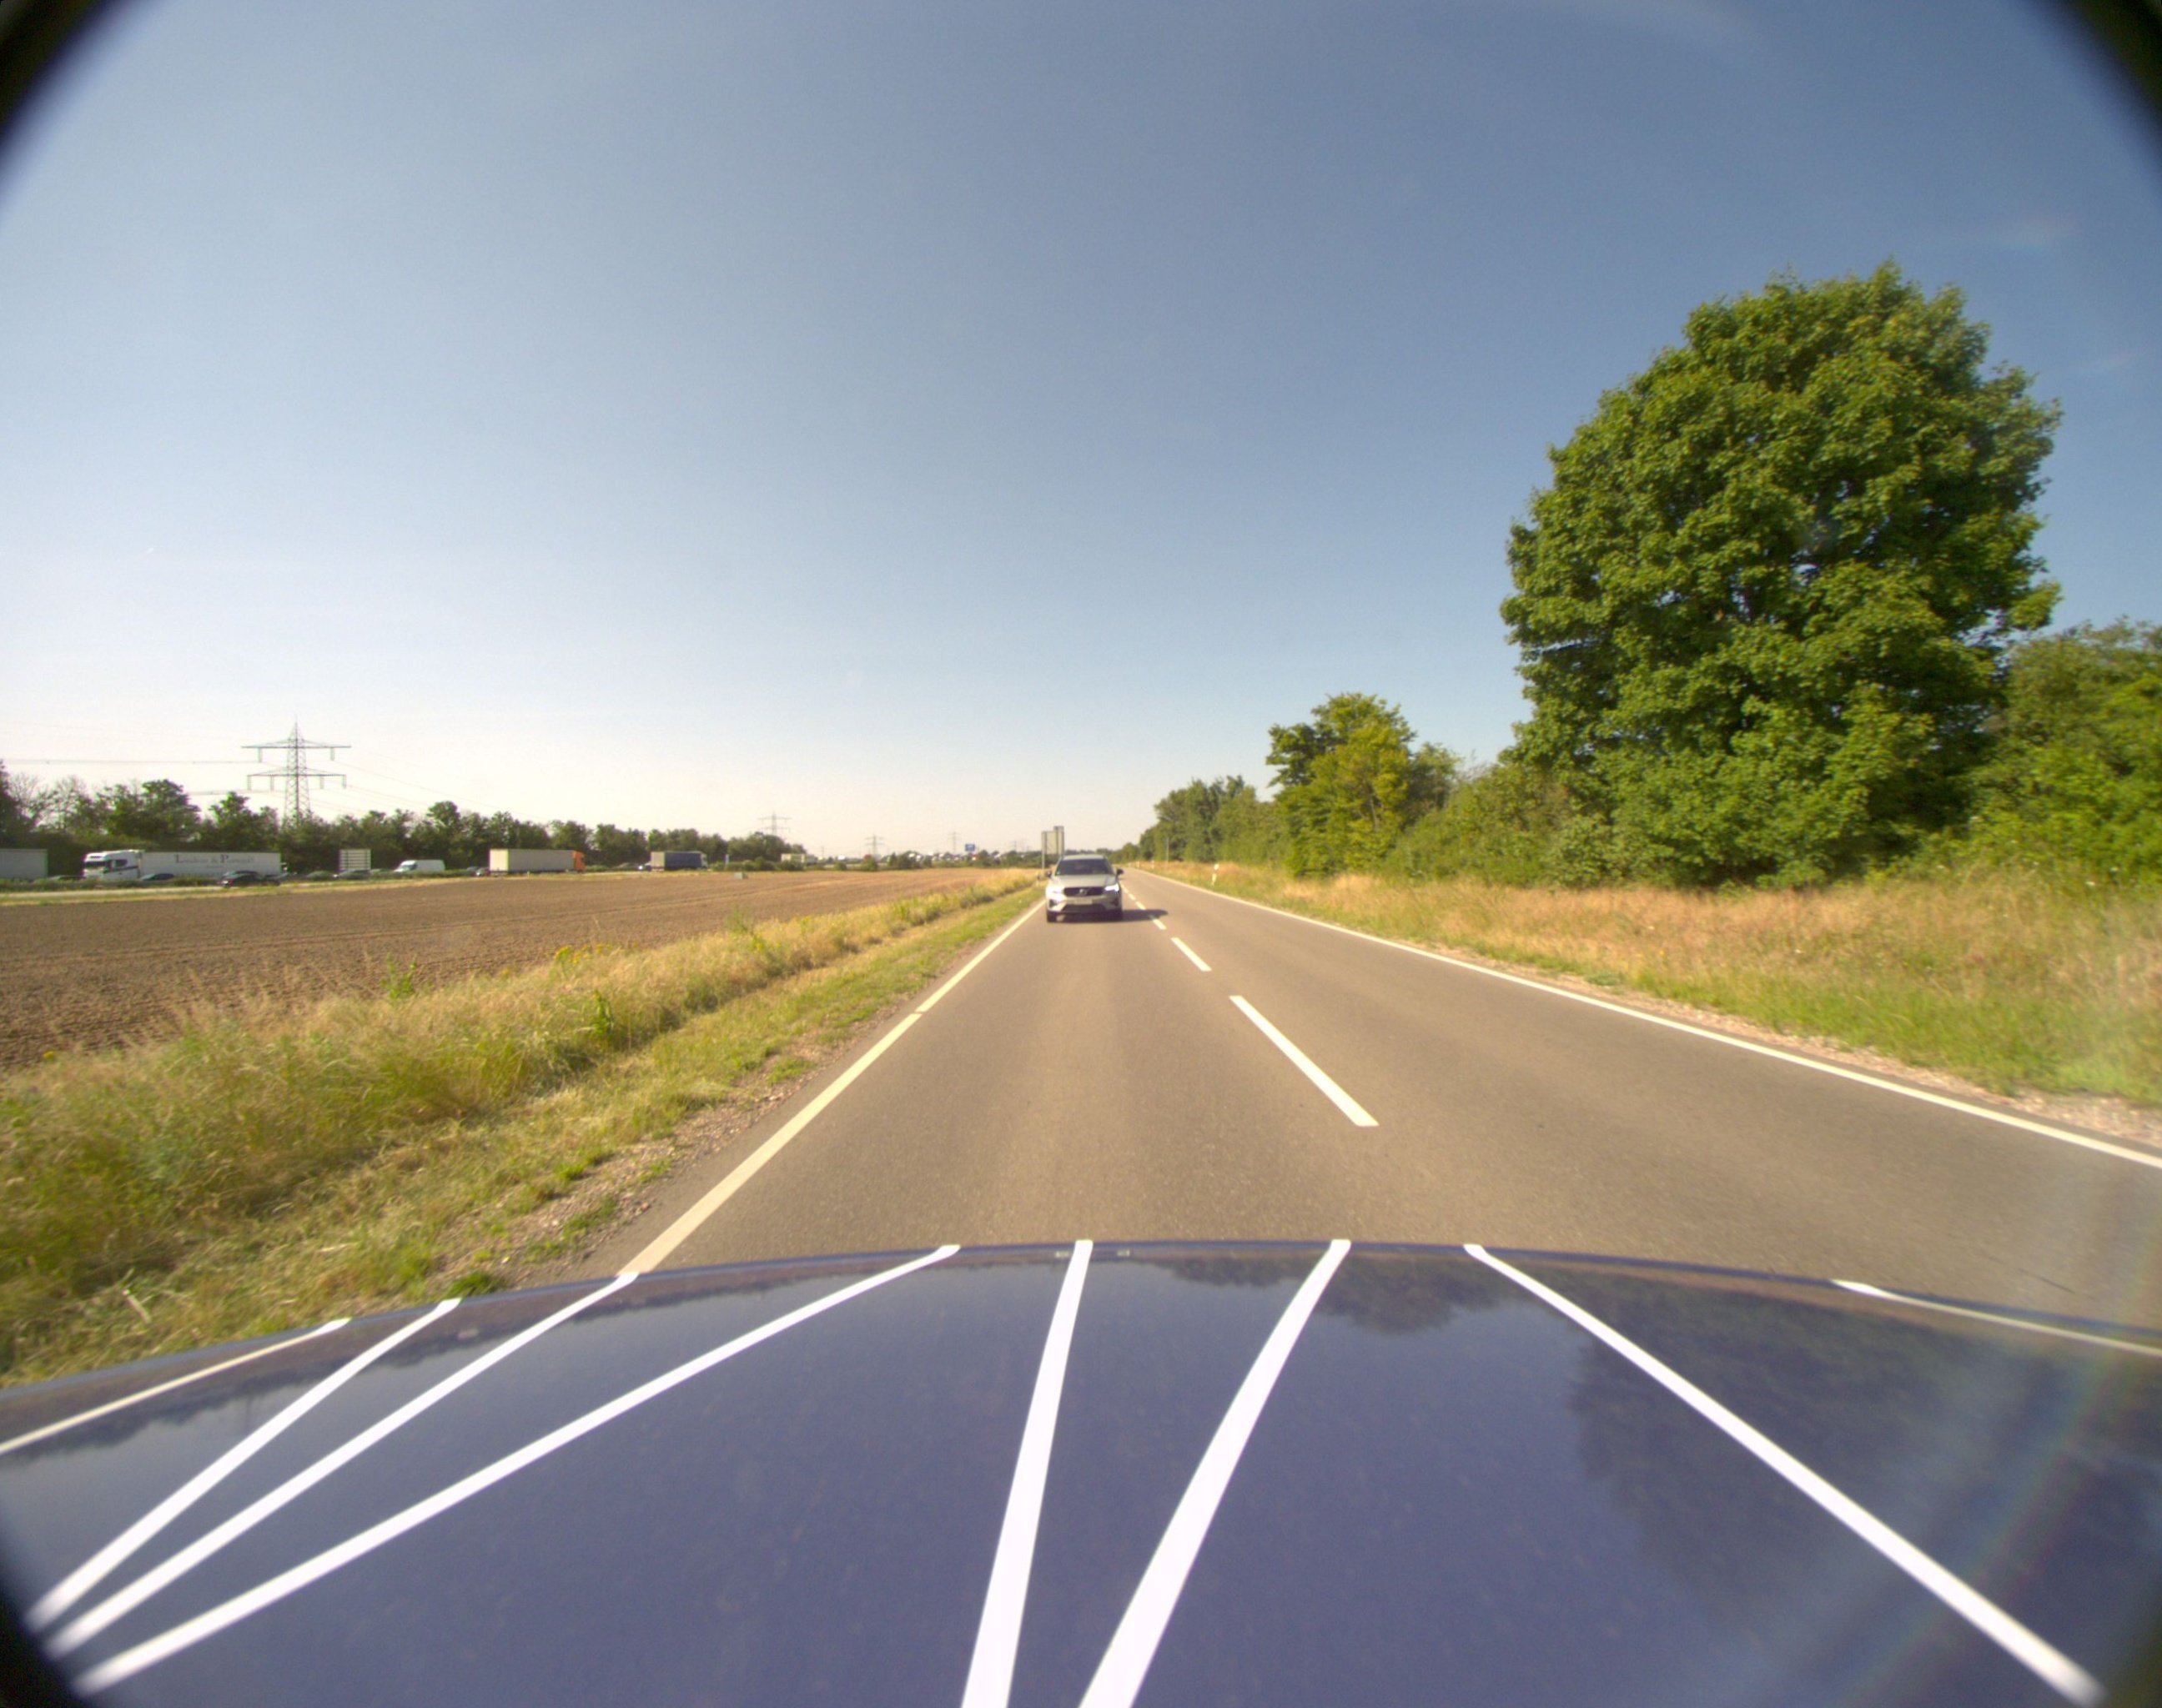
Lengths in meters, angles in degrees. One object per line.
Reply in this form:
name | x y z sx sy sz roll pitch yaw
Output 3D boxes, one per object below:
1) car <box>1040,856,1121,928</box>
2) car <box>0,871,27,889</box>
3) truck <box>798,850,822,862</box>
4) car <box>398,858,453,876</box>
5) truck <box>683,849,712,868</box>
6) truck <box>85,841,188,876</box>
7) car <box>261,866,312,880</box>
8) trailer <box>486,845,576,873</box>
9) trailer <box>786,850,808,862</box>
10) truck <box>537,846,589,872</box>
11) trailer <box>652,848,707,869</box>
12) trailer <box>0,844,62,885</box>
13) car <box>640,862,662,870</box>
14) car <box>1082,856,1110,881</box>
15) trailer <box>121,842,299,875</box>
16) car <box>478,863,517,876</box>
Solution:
car | 0.055 0.891 19.821 1.840 1.628 4.136 -2 0 2
car | -94.334 2.276 65.296 1.707 1.500 4.094 -3 0 1
truck | -77.901 0.580 218.759 2.813 3.457 11.120 -1 0 0
car | -94.586 1.778 109.771 2.042 2.433 6.414 -2 0 2
truck | -79.702 0.889 158.090 3.080 3.780 5.611 -2 0 0
truck | -100.126 0.459 80.697 3.210 3.510 6.109 0 0 1
car | -94.996 2.281 90.876 1.707 1.500 4.094 -3 0 1
trailer | -81.483 0.760 113.162 3.111 3.826 13.719 -2 0 1
trailer | -78.031 0.529 208.861 2.800 3.395 8.718 -1 0 0
truck | -81.309 0.760 119.442 3.111 3.826 6.951 -2 0 1
trailer | -79.692 0.891 151.223 3.079 3.780 14.592 -2 0 0
trailer | -100.611 1.018 66.899 2.952 3.711 13.783 -1 0 1
car | -84.564 2.342 149.413 1.998 1.566 3.894 -3 0 1
car | 1.067 0.991 53.691 1.840 1.628 4.135 -2 0 1
trailer | -100.083 0.460 88.088 3.210 3.510 15.083 0 0 1
car | -85.121 2.239 110.897 1.910 1.603 4.474 -3 0 3
